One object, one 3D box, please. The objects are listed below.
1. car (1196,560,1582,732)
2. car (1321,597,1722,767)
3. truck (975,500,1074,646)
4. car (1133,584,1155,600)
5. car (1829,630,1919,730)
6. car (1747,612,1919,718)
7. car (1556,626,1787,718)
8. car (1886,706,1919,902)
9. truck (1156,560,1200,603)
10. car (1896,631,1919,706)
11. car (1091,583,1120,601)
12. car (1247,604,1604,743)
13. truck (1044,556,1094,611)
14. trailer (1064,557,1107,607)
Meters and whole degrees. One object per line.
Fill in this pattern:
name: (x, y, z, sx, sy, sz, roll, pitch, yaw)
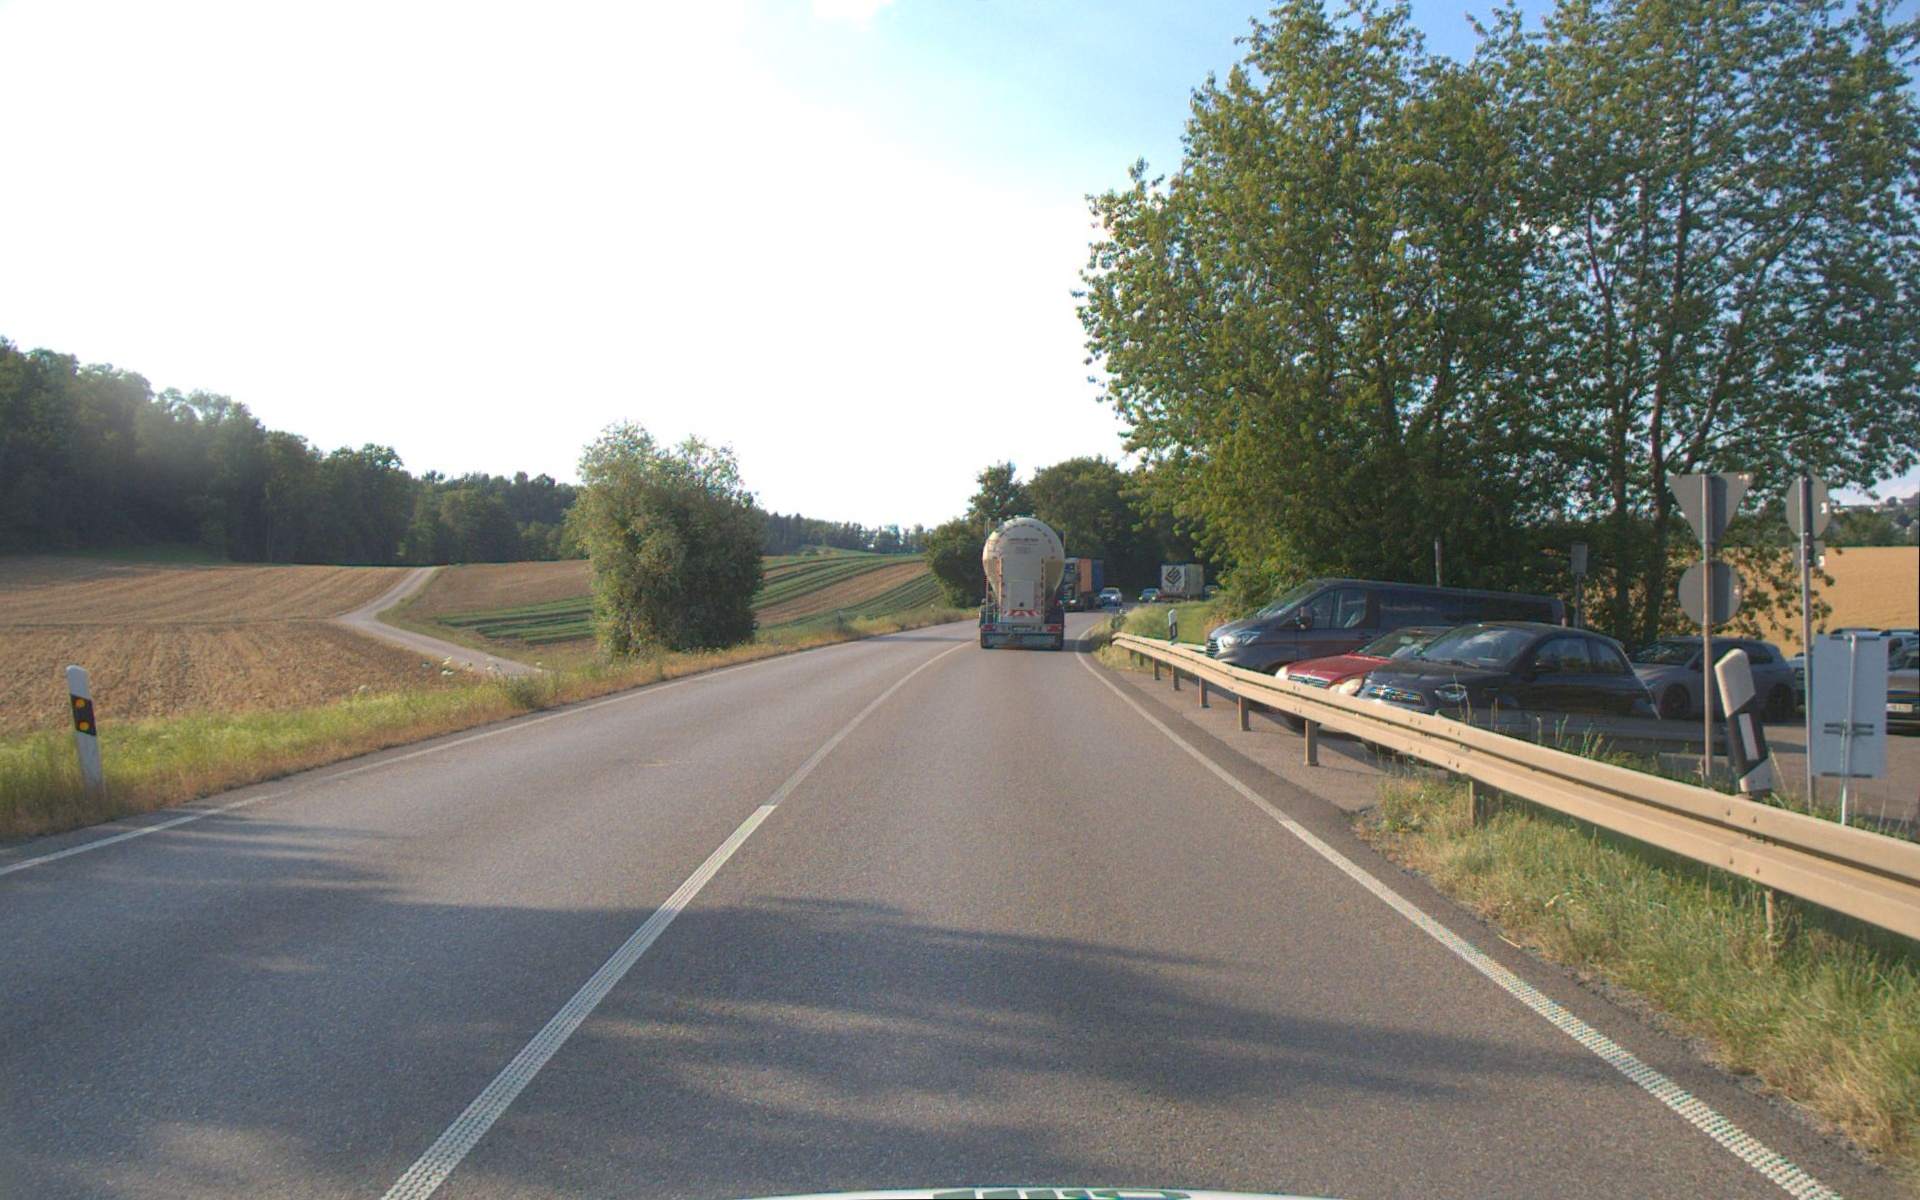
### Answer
car: (6.237, 0.640, 24.454, 5.038, 1.977, 1.974, 5, 0, -2)
car: (6.066, 0.904, 17.723, 4.269, 1.535, 1.702, 4, 0, -32)
truck: (2.022, -0.809, 54.626, 2.833, 4.215, 13.174, 1, 0, 1)
car: (19.902, -0.877, 178.765, 1.933, 1.679, 4.366, 0, 1, 12)
car: (16.058, 1.286, 26.908, 4.546, 1.466, 1.786, 2, 0, -40)
car: (17.196, 1.188, 31.628, 4.156, 1.778, 1.795, -1, 1, -28)
car: (12.527, 1.262, 29.118, 3.673, 1.466, 1.796, 2, 0, -27)
car: (9.028, 1.748, 11.844, 1.855, 1.586, 4.780, -3, 2, -4)
truck: (22.873, -1.992, 173.140, 3.115, 4.301, 13.184, 0, 1, 14)
car: (21.710, 1.436, 34.709, 4.480, 1.533, 1.974, 1, 0, -37)
car: (13.630, -0.761, 154.752, 1.933, 1.679, 4.366, 0, 1, 15)
car: (5.828, 0.928, 20.596, 4.263, 1.424, 1.705, 4, 1, -29)
truck: (8.437, -1.297, 127.314, 2.338, 3.989, 10.169, 0, 1, 12)
trailer: (10.452, -1.479, 136.675, 2.314, 3.989, 8.969, 0, 1, 12)
